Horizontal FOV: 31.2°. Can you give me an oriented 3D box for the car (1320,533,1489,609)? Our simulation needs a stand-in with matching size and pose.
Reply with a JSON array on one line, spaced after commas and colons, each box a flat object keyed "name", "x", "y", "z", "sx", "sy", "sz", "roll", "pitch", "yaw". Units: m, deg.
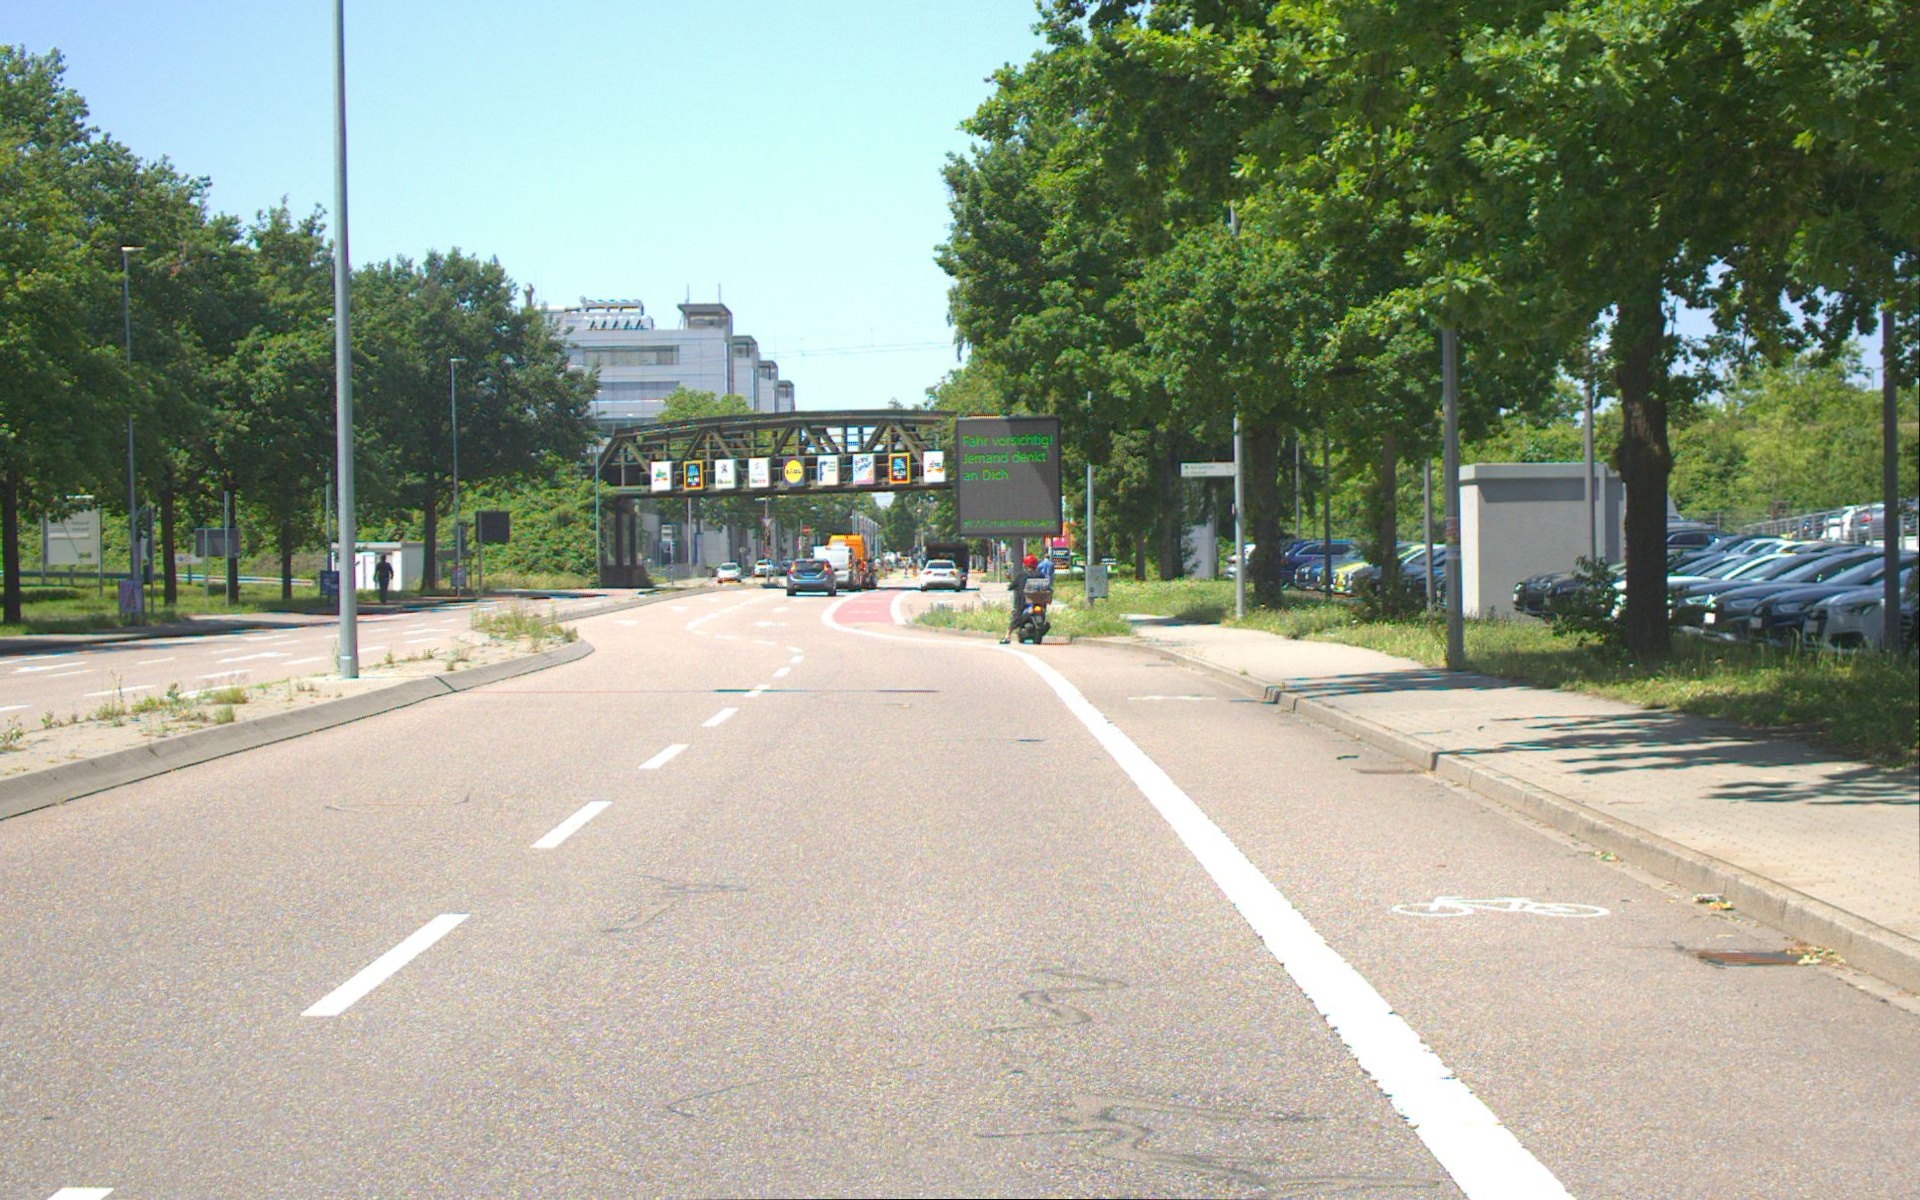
[{"name": "car", "x": 11.291, "y": -0.744, "z": 87.544, "sx": 3.860, "sy": 1.598, "sz": 1.798, "roll": 5, "pitch": 0, "yaw": -5}]

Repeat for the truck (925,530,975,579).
[{"name": "truck", "x": -0.554, "y": -2.343, "z": 176.718, "sx": 2.458, "sy": 2.402, "sz": 7.134, "roll": 1, "pitch": 1, "yaw": -1}]

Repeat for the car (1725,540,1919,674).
[{"name": "car", "x": 11.063, "y": 0.123, "z": 39.111, "sx": 4.221, "sy": 1.402, "sz": 1.917, "roll": 3, "pitch": 1, "yaw": 0}]

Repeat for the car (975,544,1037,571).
[{"name": "car", "x": 3.092, "y": -2.814, "z": 228.681, "sx": 3.987, "sy": 1.744, "sz": 1.892, "roll": 0, "pitch": 1, "yaw": 5}]

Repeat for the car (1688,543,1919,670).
[{"name": "car", "x": 11.167, "y": 0.122, "z": 41.574, "sx": 4.221, "sy": 1.365, "sz": 1.988, "roll": 3, "pitch": 1, "yaw": 0}]

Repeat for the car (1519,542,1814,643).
[{"name": "car", "x": 11.189, "y": -0.123, "z": 54.644, "sx": 4.221, "sy": 1.337, "sz": 1.917, "roll": 3, "pitch": 1, "yaw": 0}]

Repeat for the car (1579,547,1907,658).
[{"name": "car", "x": 11.253, "y": 0.021, "z": 49.635, "sx": 4.221, "sy": 1.337, "sz": 1.917, "roll": 3, "pitch": 1, "yaw": 0}]

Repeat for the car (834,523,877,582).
[{"name": "car", "x": -5.183, "y": -2.355, "z": 171.589, "sx": 2.072, "sy": 2.845, "sz": 6.765, "roll": -1, "pitch": 1, "yaw": -1}]

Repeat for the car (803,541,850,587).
[{"name": "car", "x": -5.797, "y": -1.576, "z": 149.936, "sx": 1.993, "sy": 2.007, "sz": 4.000, "roll": 0, "pitch": 1, "yaw": -1}]

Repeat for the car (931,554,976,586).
[{"name": "car", "x": -0.321, "y": -1.355, "z": 154.991, "sx": 1.924, "sy": 1.415, "sz": 4.000, "roll": 0, "pitch": 1, "yaw": -1}]

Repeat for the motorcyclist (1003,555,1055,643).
[{"name": "motorcyclist", "x": 1.203, "y": -0.025, "z": 60.183, "sx": 0.719, "sy": 1.524, "sz": 0.871, "roll": 1, "pitch": 0, "yaw": -10}]

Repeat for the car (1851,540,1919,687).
[{"name": "car", "x": 11.234, "y": 0.234, "z": 34.086, "sx": 4.221, "sy": 1.402, "sz": 1.917, "roll": 3, "pitch": 1, "yaw": 0}]

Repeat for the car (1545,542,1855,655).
[{"name": "car", "x": 11.202, "y": -0.038, "z": 52.265, "sx": 4.221, "sy": 1.447, "sz": 1.917, "roll": 3, "pitch": 1, "yaw": 0}]

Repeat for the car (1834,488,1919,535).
[{"name": "car", "x": 26.490, "y": -2.452, "z": 96.417, "sx": 3.523, "sy": 1.235, "sz": 1.542, "roll": 1, "pitch": 1, "yaw": -2}]

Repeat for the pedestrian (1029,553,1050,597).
[{"name": "pedestrian", "x": 2.480, "y": -0.775, "z": 107.683, "sx": 0.623, "sy": 1.370, "sz": 0.564, "roll": 0, "pitch": 1, "yaw": -2}]

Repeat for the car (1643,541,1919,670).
[{"name": "car", "x": 11.093, "y": 0.096, "z": 44.290, "sx": 4.130, "sy": 1.376, "sz": 1.779, "roll": 5, "pitch": 1, "yaw": 0}]

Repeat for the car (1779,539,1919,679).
[{"name": "car", "x": 11.098, "y": 0.173, "z": 36.588, "sx": 4.221, "sy": 1.402, "sz": 1.917, "roll": 3, "pitch": 1, "yaw": 0}]

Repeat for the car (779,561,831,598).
[{"name": "car", "x": -5.996, "y": -0.818, "z": 133.270, "sx": 1.900, "sy": 1.371, "sz": 4.232, "roll": -1, "pitch": 1, "yaw": -1}]

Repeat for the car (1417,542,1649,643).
[{"name": "car", "x": 11.061, "y": -0.149, "z": 66.530, "sx": 3.986, "sy": 1.612, "sz": 1.798, "roll": 5, "pitch": 0, "yaw": -5}]

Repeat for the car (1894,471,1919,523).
[{"name": "car", "x": 26.393, "y": -2.678, "z": 88.761, "sx": 3.986, "sy": 1.307, "sz": 1.798, "roll": -1, "pitch": 1, "yaw": -5}]

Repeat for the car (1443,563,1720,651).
[{"name": "car", "x": 10.293, "y": 0.102, "z": 57.179, "sx": 4.221, "sy": 1.337, "sz": 1.917, "roll": 1, "pitch": 1, "yaw": 0}]

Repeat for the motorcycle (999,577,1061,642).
[{"name": "motorcycle", "x": 1.211, "y": 0.153, "z": 60.136, "sx": 0.716, "sy": 1.101, "sz": 1.831, "roll": 1, "pitch": 0, "yaw": -10}]

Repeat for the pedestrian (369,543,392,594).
[{"name": "pedestrian", "x": -21.618, "y": -1.178, "z": 128.348, "sx": 0.743, "sy": 1.877, "sz": 0.577, "roll": -1, "pitch": 1, "yaw": 0}]

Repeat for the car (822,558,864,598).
[{"name": "car", "x": -5.507, "y": -1.051, "z": 162.248, "sx": 1.895, "sy": 1.809, "sz": 4.000, "roll": -1, "pitch": 1, "yaw": -1}]
